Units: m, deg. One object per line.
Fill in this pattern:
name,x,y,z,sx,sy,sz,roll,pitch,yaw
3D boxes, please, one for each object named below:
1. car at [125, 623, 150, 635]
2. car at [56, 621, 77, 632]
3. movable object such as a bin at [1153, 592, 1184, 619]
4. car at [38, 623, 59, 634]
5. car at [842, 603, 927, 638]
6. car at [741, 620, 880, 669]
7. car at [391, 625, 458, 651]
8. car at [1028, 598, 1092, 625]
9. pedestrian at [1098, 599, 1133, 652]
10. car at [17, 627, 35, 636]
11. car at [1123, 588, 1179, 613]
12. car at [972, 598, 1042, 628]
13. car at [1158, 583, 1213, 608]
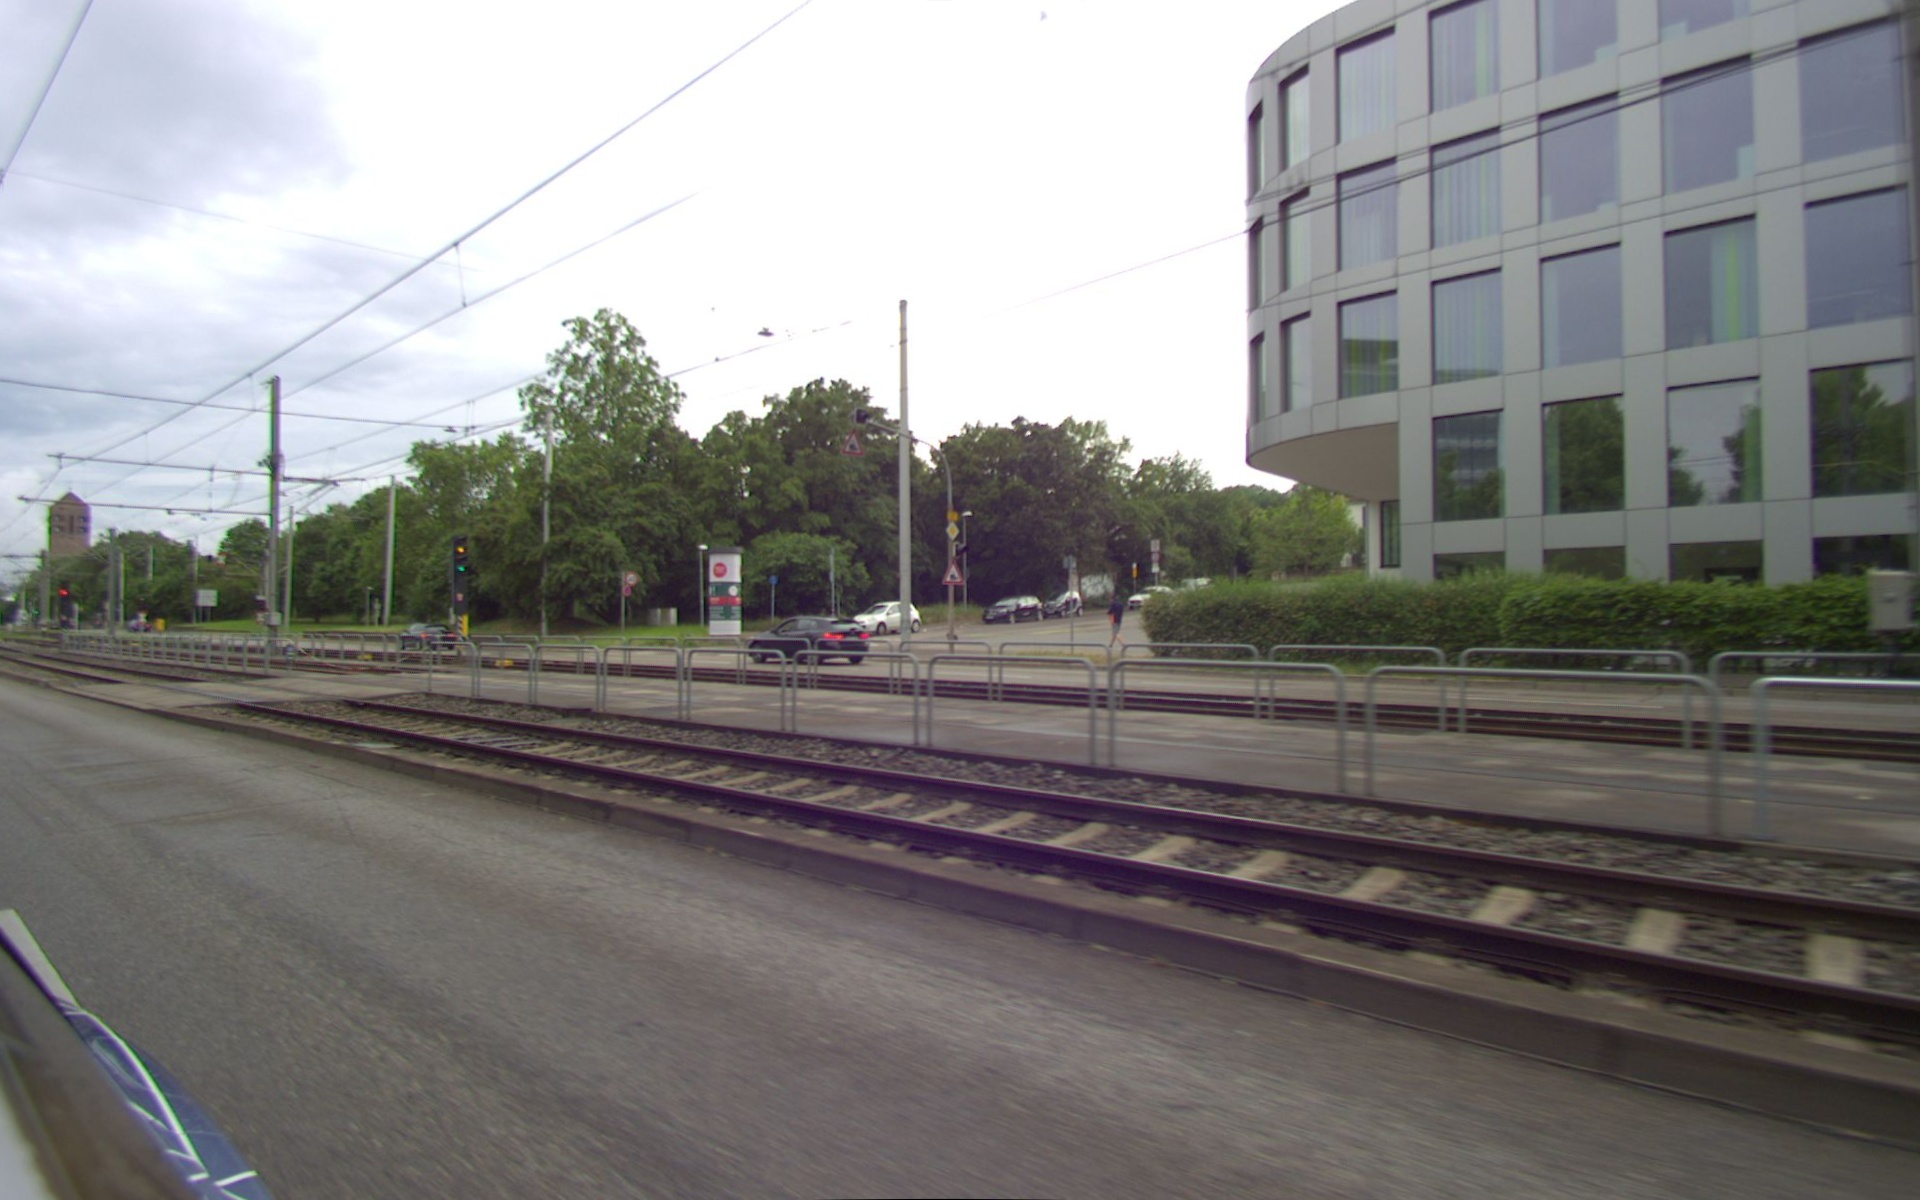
car,-95.108,3.338,117.022,3.901,1.408,1.741,-1,-2,44
car,-129.446,3.860,146.611,4.848,1.607,1.926,-1,-2,44
movable object such as a bin,11.247,0.294,54.608,1.269,1.406,1.257,-1,1,34
car,-125.596,3.973,139.474,4.309,1.497,1.870,-1,-2,44
car,-3.588,0.979,48.736,1.924,1.464,3.881,-1,1,39
car,-4.504,1.266,30.101,4.257,1.357,1.779,-1,-2,41
car,-27.306,1.927,51.544,3.986,1.253,1.738,-1,-2,41
car,5.976,0.688,60.356,1.871,1.421,4.035,-1,1,39
pedestrian,4.962,0.790,32.309,0.845,1.660,0.716,-1,0,42
car,-165.513,5.596,179.263,4.680,1.458,1.906,-1,-2,42
car,12.812,0.005,67.700,1.943,1.485,4.215,-1,1,39
car,2.649,0.714,56.036,1.871,1.464,4.035,-1,1,39
car,16.023,-0.325,71.823,1.946,1.673,4.095,-1,1,44
